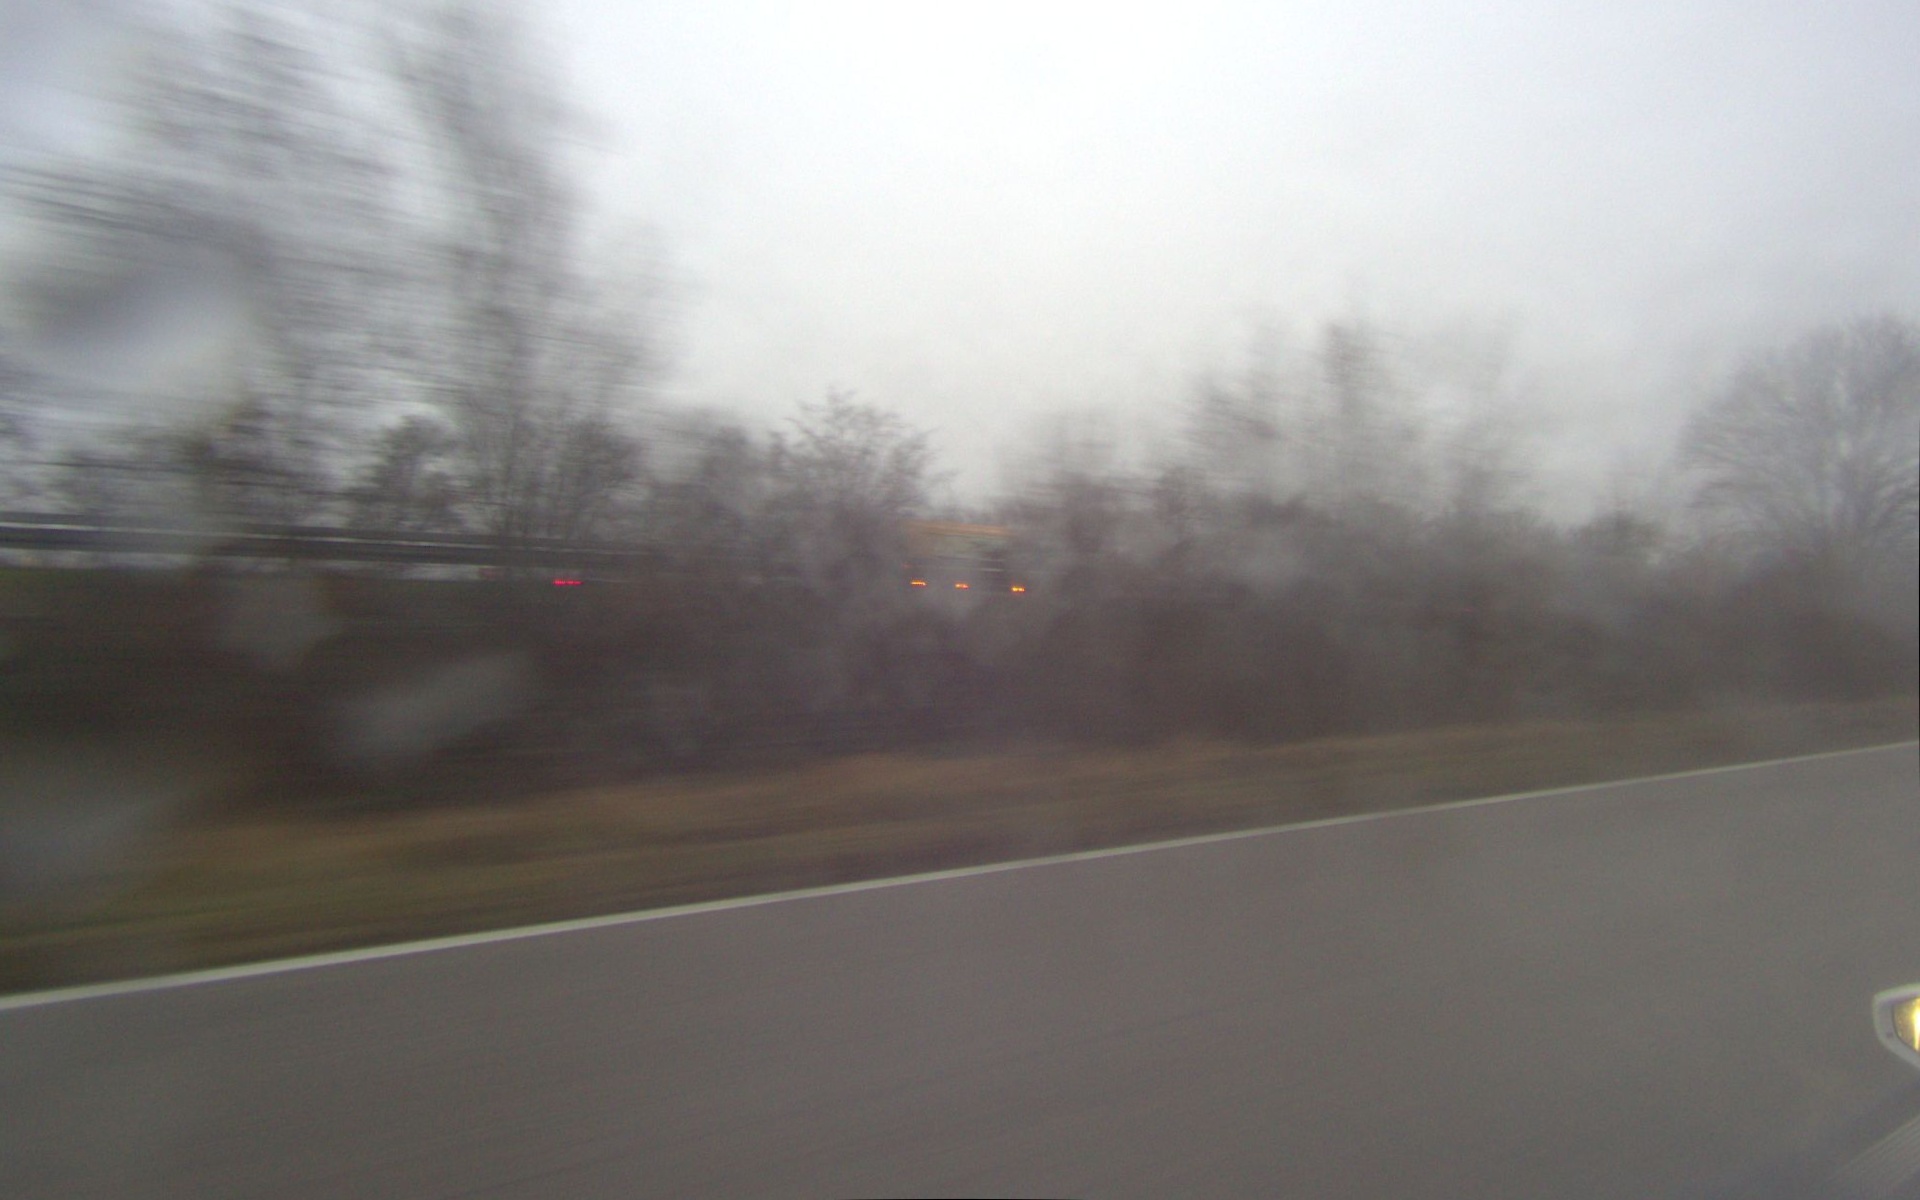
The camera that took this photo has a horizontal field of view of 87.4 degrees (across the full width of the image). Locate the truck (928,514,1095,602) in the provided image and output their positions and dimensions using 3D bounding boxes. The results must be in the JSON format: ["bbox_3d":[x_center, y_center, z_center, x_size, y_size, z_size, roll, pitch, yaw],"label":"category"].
[{"bbox_3d":[1.603,-1.200,30.695,4.772,2.374,1.984,2,0,-30],"label":"truck"}]
